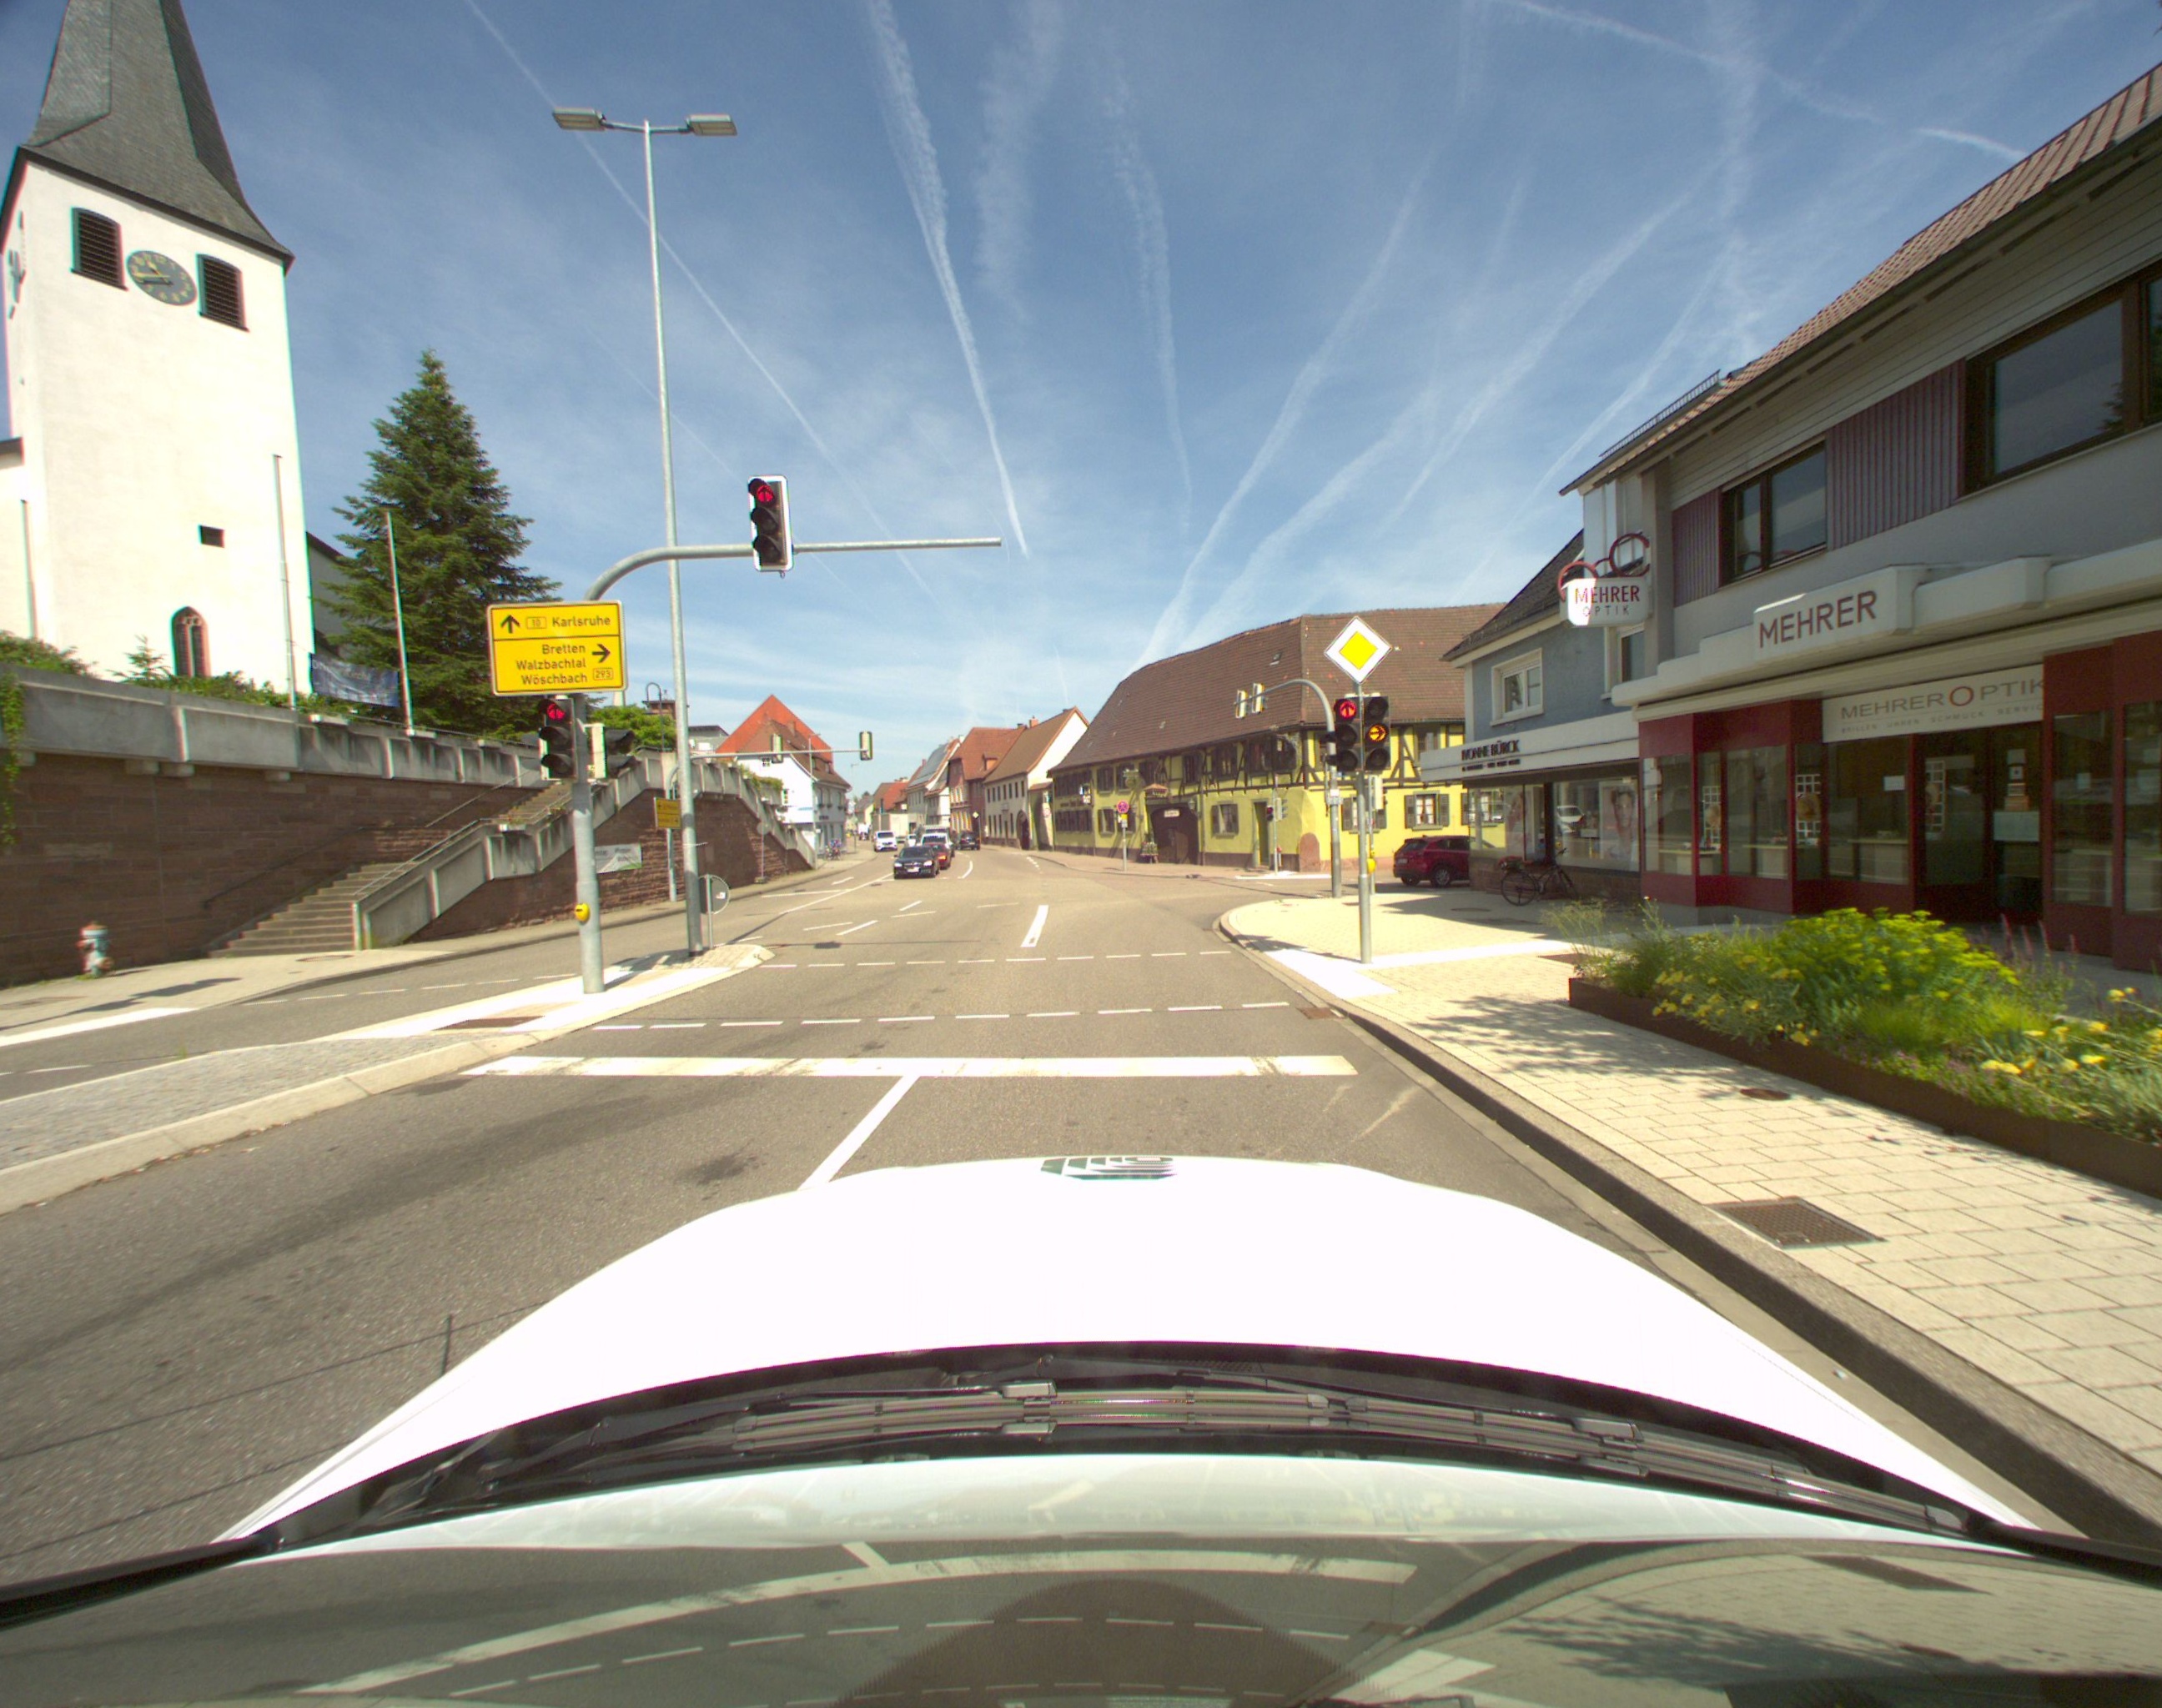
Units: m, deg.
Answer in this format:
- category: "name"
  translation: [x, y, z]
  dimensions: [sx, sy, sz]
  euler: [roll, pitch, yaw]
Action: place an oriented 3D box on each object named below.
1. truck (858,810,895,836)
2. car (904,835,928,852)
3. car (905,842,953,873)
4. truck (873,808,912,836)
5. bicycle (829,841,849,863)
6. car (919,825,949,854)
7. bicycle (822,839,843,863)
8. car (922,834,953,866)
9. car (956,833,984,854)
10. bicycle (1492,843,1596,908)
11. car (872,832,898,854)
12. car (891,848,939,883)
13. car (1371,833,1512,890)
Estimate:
- category: "truck"
  translation: [-30.516, -4.553, 121.131]
  dimensions: [3.177, 3.460, 10.618]
  euler: [0, 0, -27]
- category: "car"
  translation: [-16.608, -1.088, 81.723]
  dimensions: [1.791, 1.526, 3.980]
  euler: [-3, 2, -19]
- category: "car"
  translation: [-8.491, 0.139, 45.913]
  dimensions: [2.156, 1.515, 4.939]
  euler: [-1, 2, -5]
- category: "truck"
  translation: [-26.072, -4.322, 112.231]
  dimensions: [3.240, 3.549, 9.152]
  euler: [0, 1, -26]
- category: "bicycle"
  translation: [-17.659, -0.169, 59.471]
  dimensions: [0.555, 1.607, 2.565]
  euler: [0, 1, 3]
- category: "car"
  translation: [-12.104, -1.189, 66.922]
  dimensions: [1.763, 2.246, 4.524]
  euler: [0, 1, -19]
- category: "bicycle"
  translation: [-18.351, -0.241, 60.209]
  dimensions: [0.638, 1.779, 2.673]
  euler: [0, 1, 3]
- category: "car"
  translation: [-9.345, -0.322, 53.226]
  dimensions: [1.820, 1.906, 4.950]
  euler: [-2, 2, -9]
- category: "car"
  translation: [-9.972, -0.954, 72.716]
  dimensions: [1.825, 1.738, 3.983]
  euler: [-3, 2, -16]
- category: "bicycle"
  translation: [9.576, 0.435, 16.880]
  dimensions: [1.796, 1.234, 0.550]
  euler: [-3, 1, 2]
- category: "car"
  translation: [-19.158, -1.081, 79.390]
  dimensions: [2.142, 1.966, 5.249]
  euler: [-3, 2, -16]
- category: "car"
  translation: [-7.854, 0.486, 38.837]
  dimensions: [1.818, 1.434, 4.239]
  euler: [-2, 2, -6]
- category: "car"
  translation: [11.630, 0.206, 26.368]
  dimensions: [3.800, 1.663, 1.804]
  euler: [-2, 0, -11]
